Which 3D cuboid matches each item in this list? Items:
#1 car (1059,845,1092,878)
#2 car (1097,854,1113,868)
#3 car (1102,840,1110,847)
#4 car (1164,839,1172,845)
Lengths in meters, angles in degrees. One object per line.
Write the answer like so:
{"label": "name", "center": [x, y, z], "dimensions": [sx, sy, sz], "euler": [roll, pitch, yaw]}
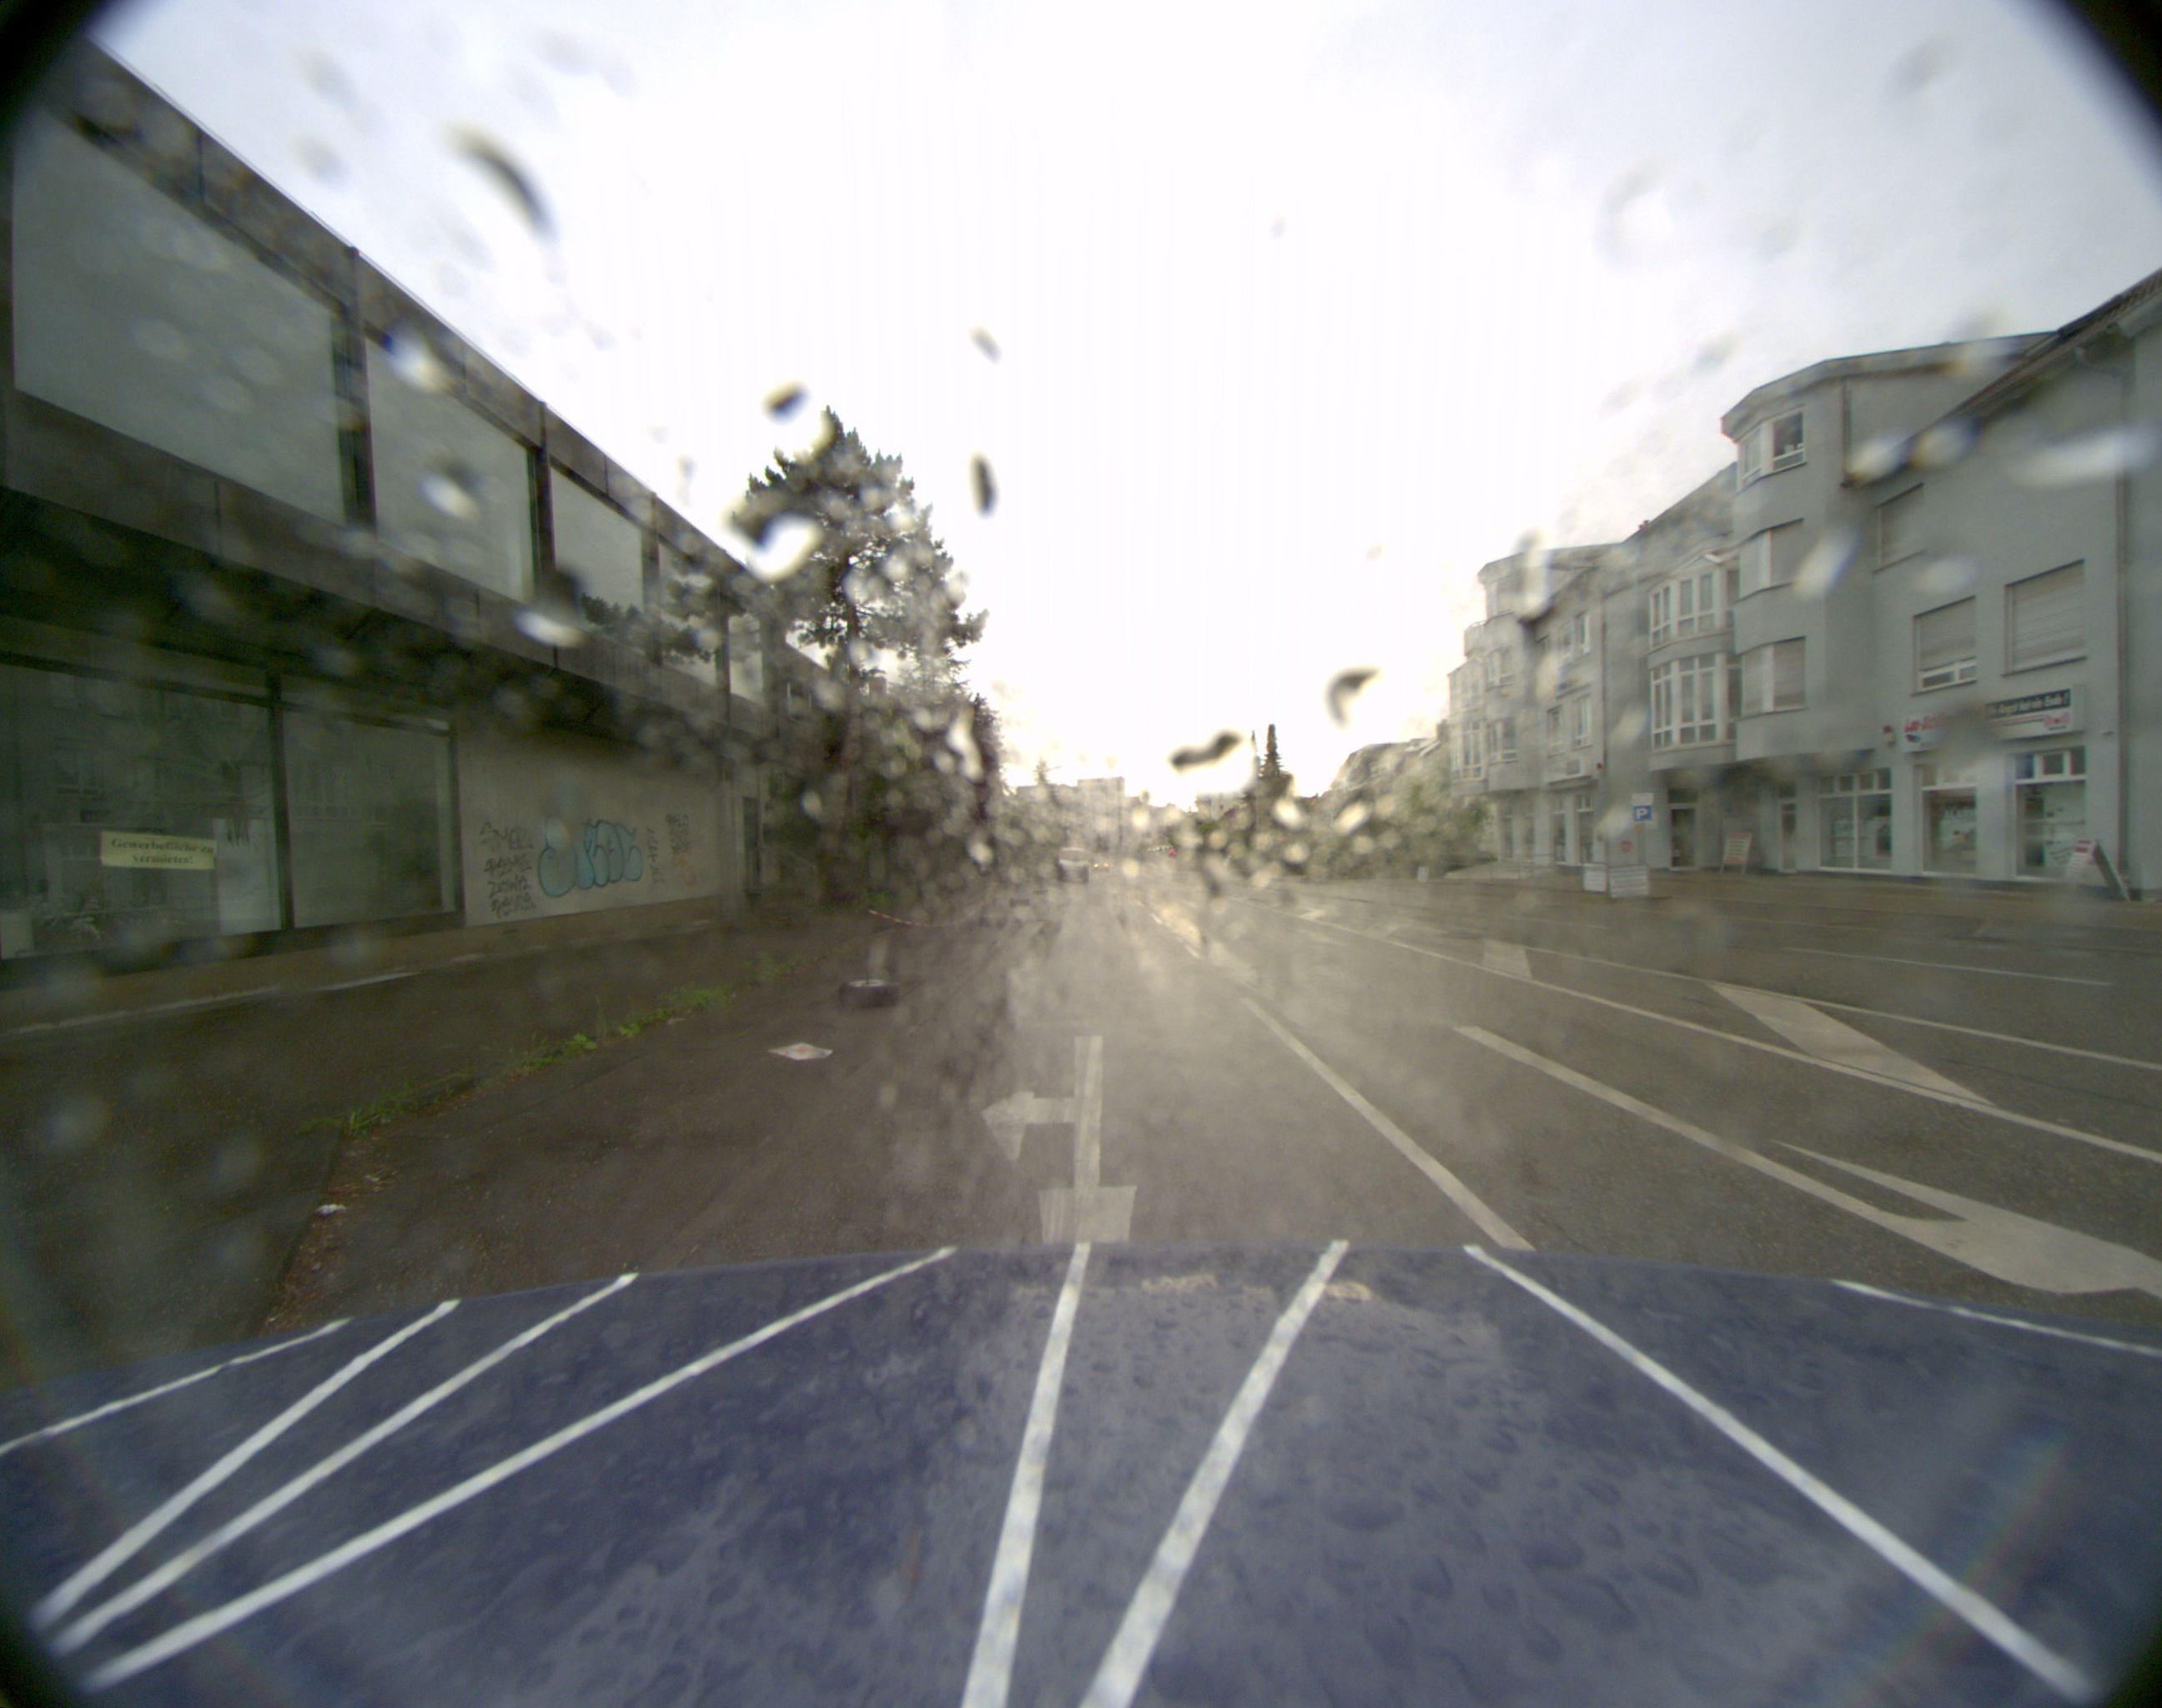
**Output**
{"label": "car", "center": [-0.339, 0.464, 50.407], "dimensions": [1.998, 2.072, 3.999], "euler": [-2, 1, 1]}
{"label": "car", "center": [2.730, 0.777, 88.583], "dimensions": [1.754, 1.534, 4.676], "euler": [-1, 1, 1]}
{"label": "car", "center": [6.207, -2.712, 190.944], "dimensions": [1.803, 1.675, 3.999], "euler": [-2, 1, 1]}
{"label": "car", "center": [27.334, -3.660, 238.981], "dimensions": [1.998, 1.774, 4.000], "euler": [-2, 1, 3]}
